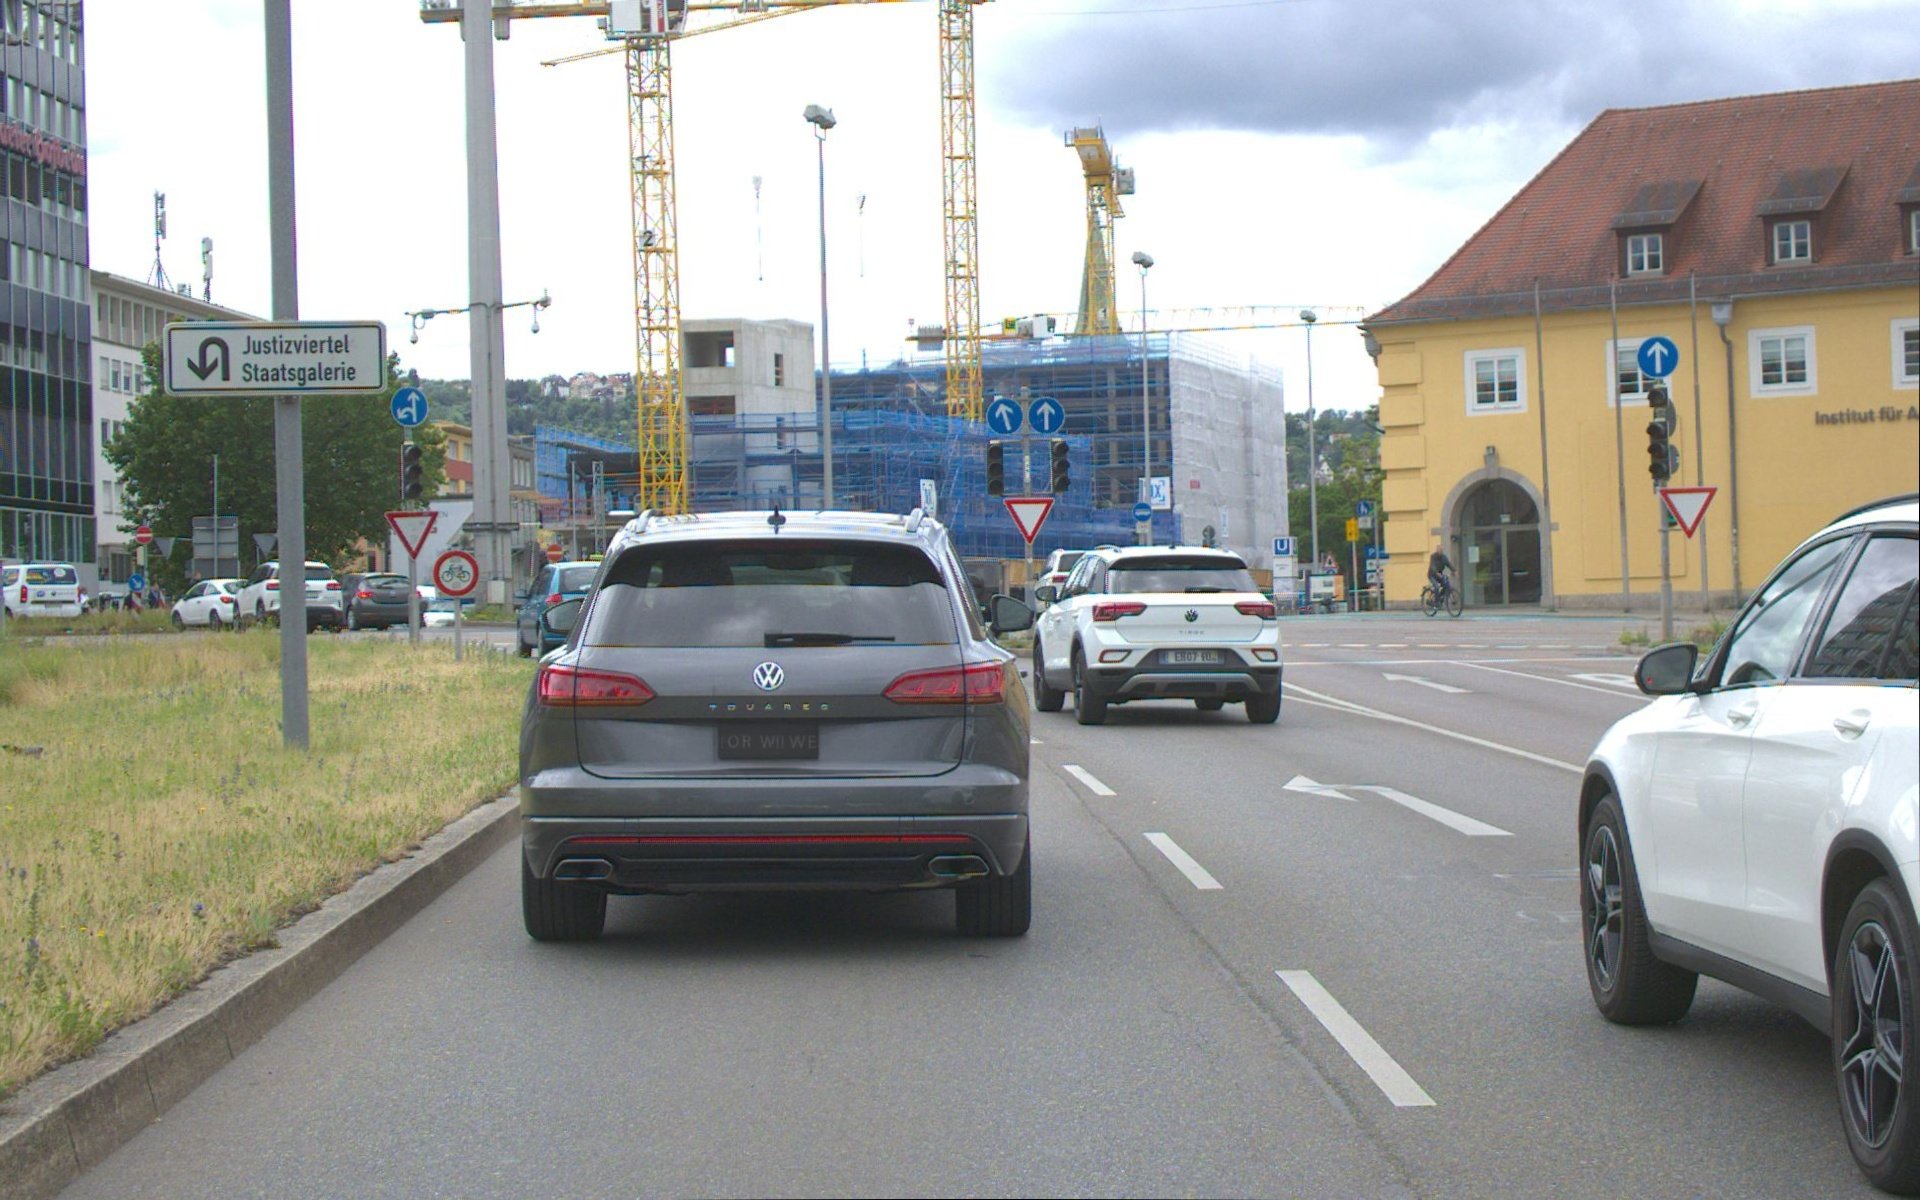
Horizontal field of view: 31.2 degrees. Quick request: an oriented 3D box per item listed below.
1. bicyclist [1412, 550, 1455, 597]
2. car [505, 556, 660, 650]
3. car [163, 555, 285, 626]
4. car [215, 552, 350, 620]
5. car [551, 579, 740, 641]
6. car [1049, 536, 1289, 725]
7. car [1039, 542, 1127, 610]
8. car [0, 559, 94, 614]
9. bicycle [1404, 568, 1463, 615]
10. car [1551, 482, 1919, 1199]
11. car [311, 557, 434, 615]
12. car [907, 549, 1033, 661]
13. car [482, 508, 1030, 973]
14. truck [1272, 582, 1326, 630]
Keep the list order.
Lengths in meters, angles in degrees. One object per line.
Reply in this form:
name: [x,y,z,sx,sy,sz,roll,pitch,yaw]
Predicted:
bicyclist: [11.856,-0.666,86.104,0.923,1.155,0.725,0,1,-5]
car: [-5.782,0.025,52.335,1.792,1.352,4.071,-1,1,-14]
car: [-20.671,-0.294,96.444,1.894,1.605,4.000,-5,7,-34]
car: [-15.440,-0.338,78.227,1.814,1.491,3.906,-1,1,-30]
car: [-6.108,0.178,66.535,1.670,1.135,4.069,-1,1,-39]
car: [1.826,0.220,31.105,1.893,1.580,3.801,0,1,-1]
car: [2.805,-0.576,79.151,1.803,1.497,3.981,-1,1,-1]
car: [-26.679,-0.406,97.621,2.245,1.497,4.609,-1,2,-40]
bicycle: [11.853,-0.226,86.113,0.923,1.155,2.465,0,1,-5]
car: [2.913,0.523,9.149,1.819,1.641,4.379,-1,1,-1]
car: [-14.565,-0.365,85.158,1.640,1.392,3.597,-1,1,-34]
car: [0.156,0.032,49.304,1.719,1.497,4.144,0,1,0]
car: [-0.754,0.457,14.235,1.933,1.641,4.000,0,1,-1]
truck: [18.073,0.294,183.067,2.129,2.445,4.824,0,1,14]
